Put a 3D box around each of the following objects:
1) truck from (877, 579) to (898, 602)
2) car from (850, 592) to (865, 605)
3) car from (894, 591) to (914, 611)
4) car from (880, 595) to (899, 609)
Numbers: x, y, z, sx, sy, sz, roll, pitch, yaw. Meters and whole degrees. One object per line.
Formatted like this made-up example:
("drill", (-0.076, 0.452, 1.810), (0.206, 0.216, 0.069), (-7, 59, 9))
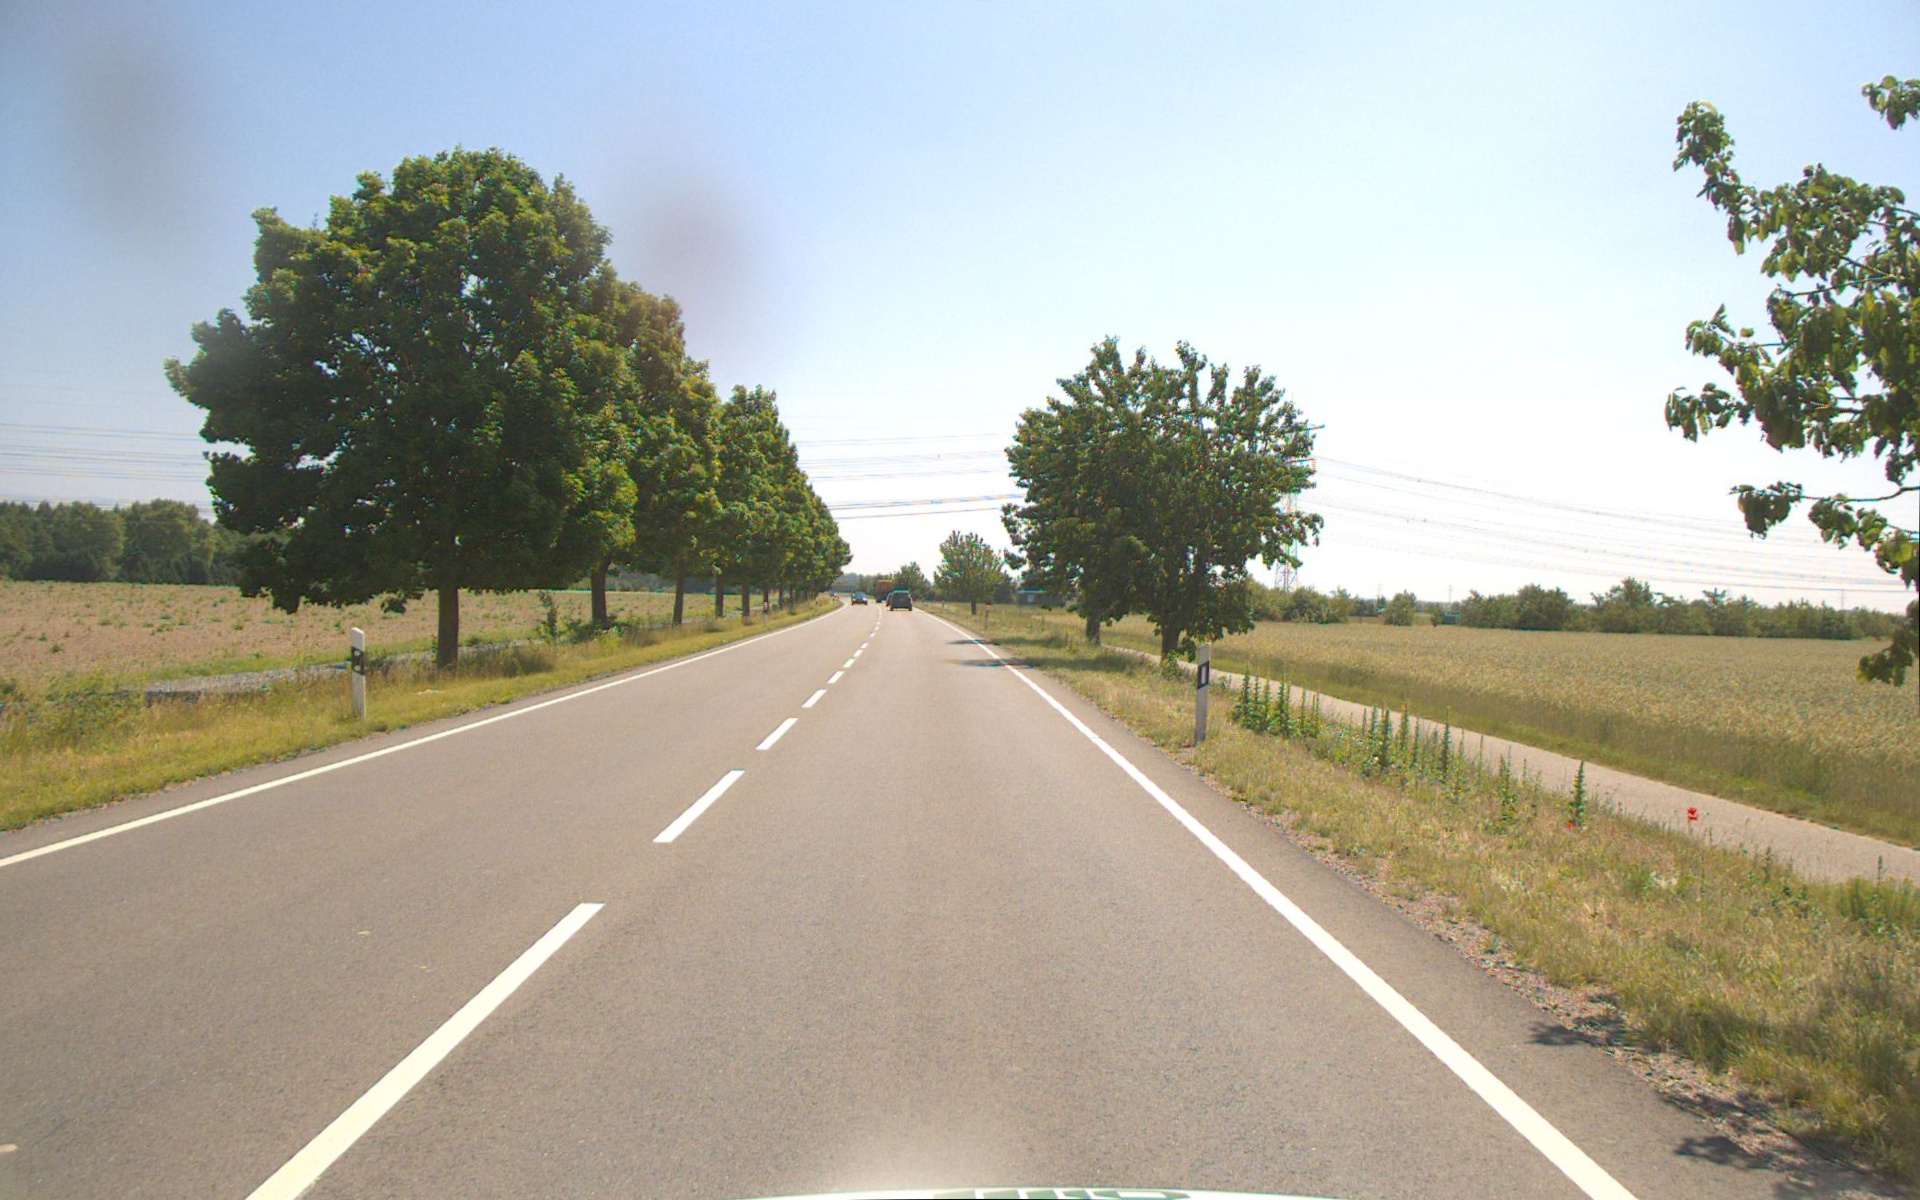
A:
("truck", (-10.654, -1.366, 241.195), (2.325, 3.194, 8.735), (2, 0, -7))
("car", (-12.264, -0.192, 198.410), (1.785, 1.445, 4.587), (1, 0, -3))
("car", (-4.821, 0.094, 142.406), (1.680, 1.723, 3.986), (1, 0, -3))
("car", (-7.717, 0.223, 181.221), (1.815, 1.549, 3.995), (1, 0, -6))
